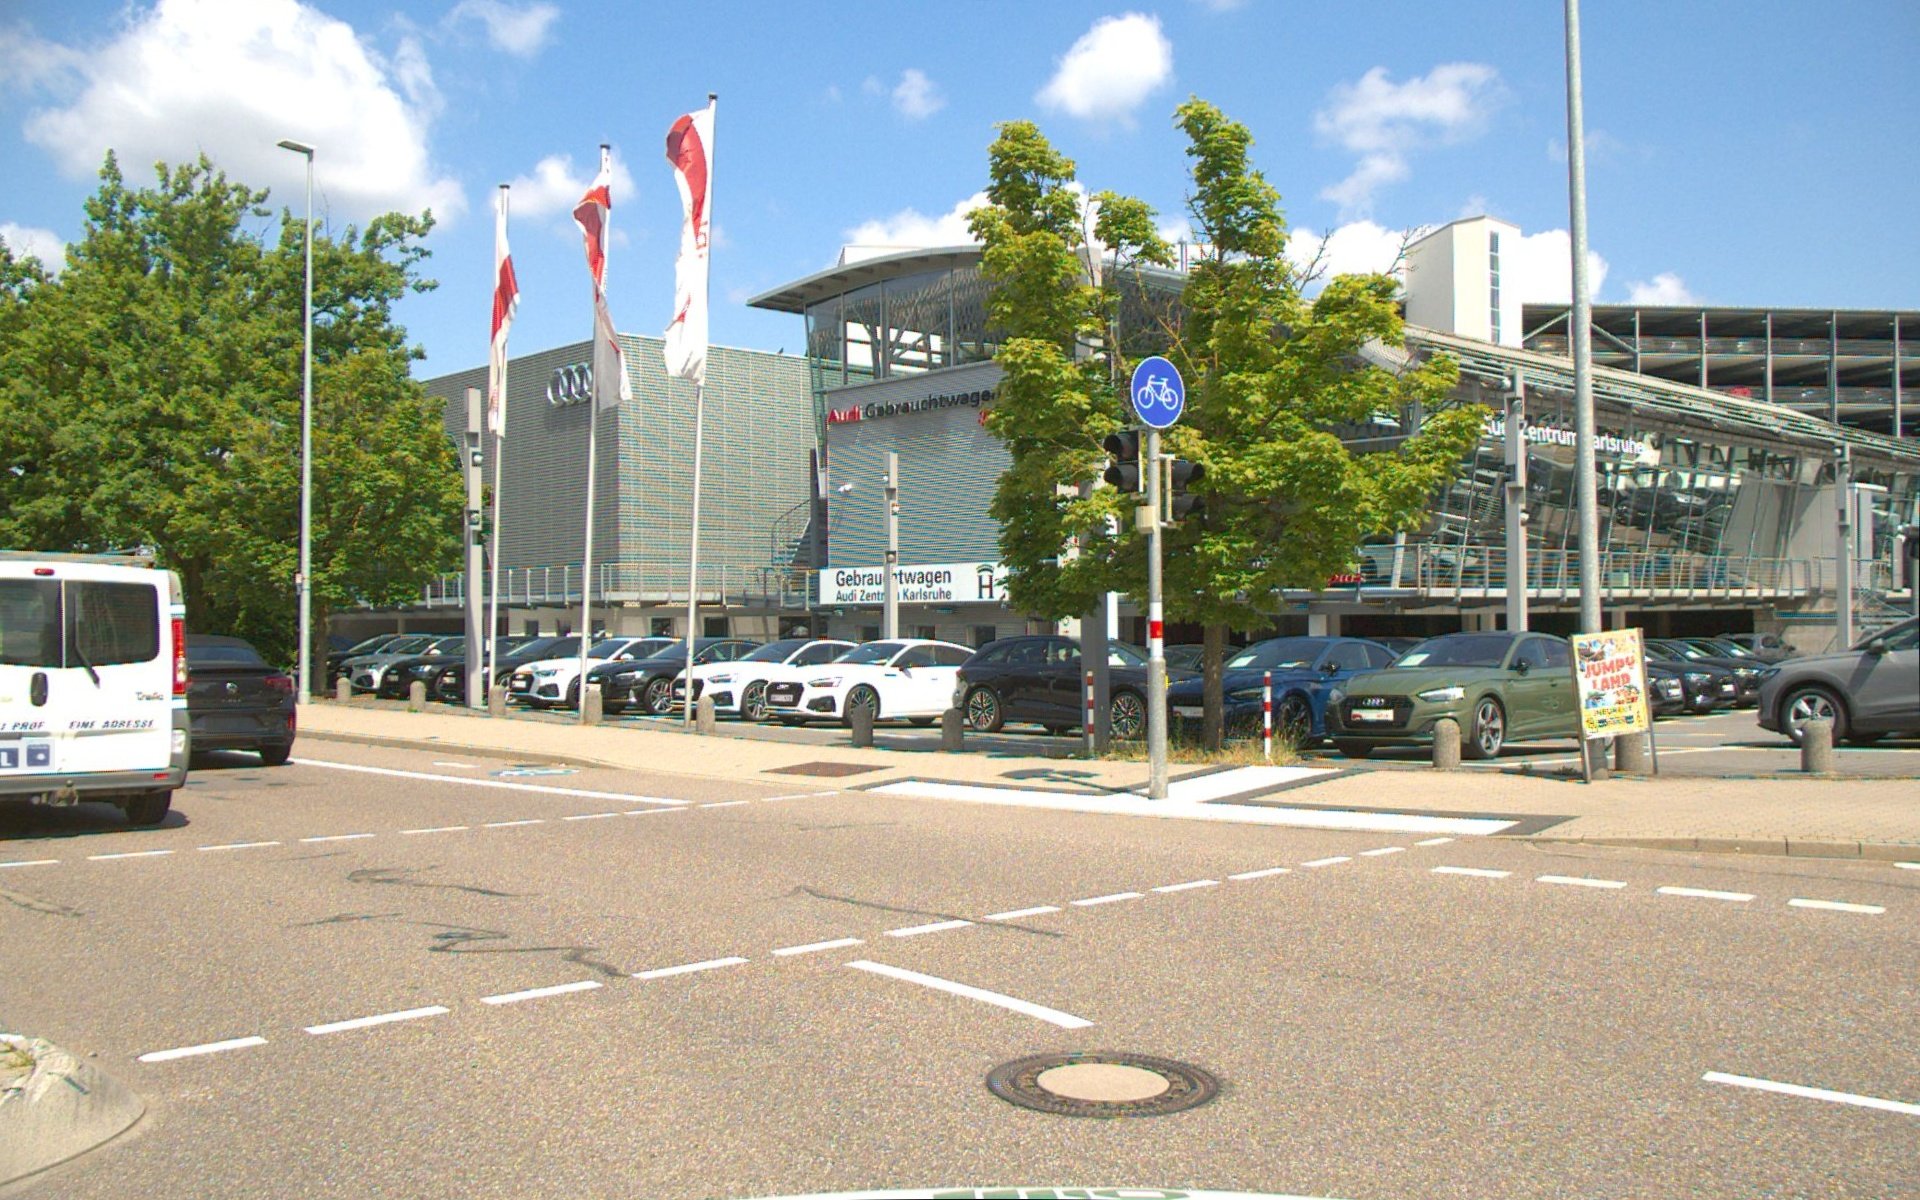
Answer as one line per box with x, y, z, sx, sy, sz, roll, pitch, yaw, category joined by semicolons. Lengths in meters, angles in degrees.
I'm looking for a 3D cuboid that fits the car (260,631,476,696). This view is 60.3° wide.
-14.278;1.565;40.079;4.555;1.429;1.876;3;-2;-45;car

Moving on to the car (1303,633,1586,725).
8.855;1.437;30.524;1.970;1.537;4.678;5;-4;-44;car

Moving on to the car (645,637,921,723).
-2.969;1.327;28.461;4.555;1.320;1.876;2;-1;-45;car

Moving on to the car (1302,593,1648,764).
6.025;0.840;19.031;4.555;1.707;1.876;2;-1;-45;car

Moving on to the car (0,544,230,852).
-7.725;0.670;13.257;1.965;2.096;4.489;1;-1;-45;car

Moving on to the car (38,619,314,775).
-9.564;1.081;20.043;3.932;1.658;1.767;0;-1;44;car

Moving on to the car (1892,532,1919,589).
33.166;-1.290;54.061;1.752;1.833;4.383;2;-1;-44;car

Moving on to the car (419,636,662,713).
-8.664;1.570;34.443;4.555;1.320;1.876;6;-4;-44;car

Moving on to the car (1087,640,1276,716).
4.909;1.661;36.287;4.328;1.525;1.876;0;-2;-45;car

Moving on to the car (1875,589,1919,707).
15.668;0.731;23.305;1.891;1.707;4.519;2;-1;-42;car

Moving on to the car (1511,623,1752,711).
14.619;1.406;36.188;1.891;1.707;4.519;2;-1;-42;car

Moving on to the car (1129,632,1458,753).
4.327;1.109;20.988;4.555;1.320;1.876;2;-1;-45;car

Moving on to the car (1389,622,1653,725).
10.895;1.368;32.306;4.476;1.771;1.986;1;-1;45;car

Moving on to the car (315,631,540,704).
-12.257;1.585;38.244;4.555;1.429;1.876;6;-3;-44;car

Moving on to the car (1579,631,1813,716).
16.708;1.616;37.724;1.891;1.707;4.519;2;-1;-42;car

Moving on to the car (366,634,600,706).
-10.386;1.556;36.234;4.555;1.408;1.876;4;-2;-44;car

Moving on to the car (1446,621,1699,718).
12.561;1.371;34.082;4.476;1.771;1.986;1;-1;44;car

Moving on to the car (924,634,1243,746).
1.724;1.290;24.333;1.782;1.490;4.678;5;-4;-44;car

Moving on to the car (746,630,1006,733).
-1.282;1.325;26.433;3.969;1.490;1.766;5;-5;-44;car

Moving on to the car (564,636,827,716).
-4.793;1.360;30.471;4.555;1.320;1.876;2;-1;-45;car

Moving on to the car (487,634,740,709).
-6.705;1.358;32.360;4.555;1.320;1.876;2;-1;-45;car

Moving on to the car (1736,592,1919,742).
11.808;0.772;19.360;1.891;1.708;4.518;2;-5;-42;car

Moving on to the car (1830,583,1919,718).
13.721;0.678;20.860;1.891;1.707;4.519;2;-1;-42;car
